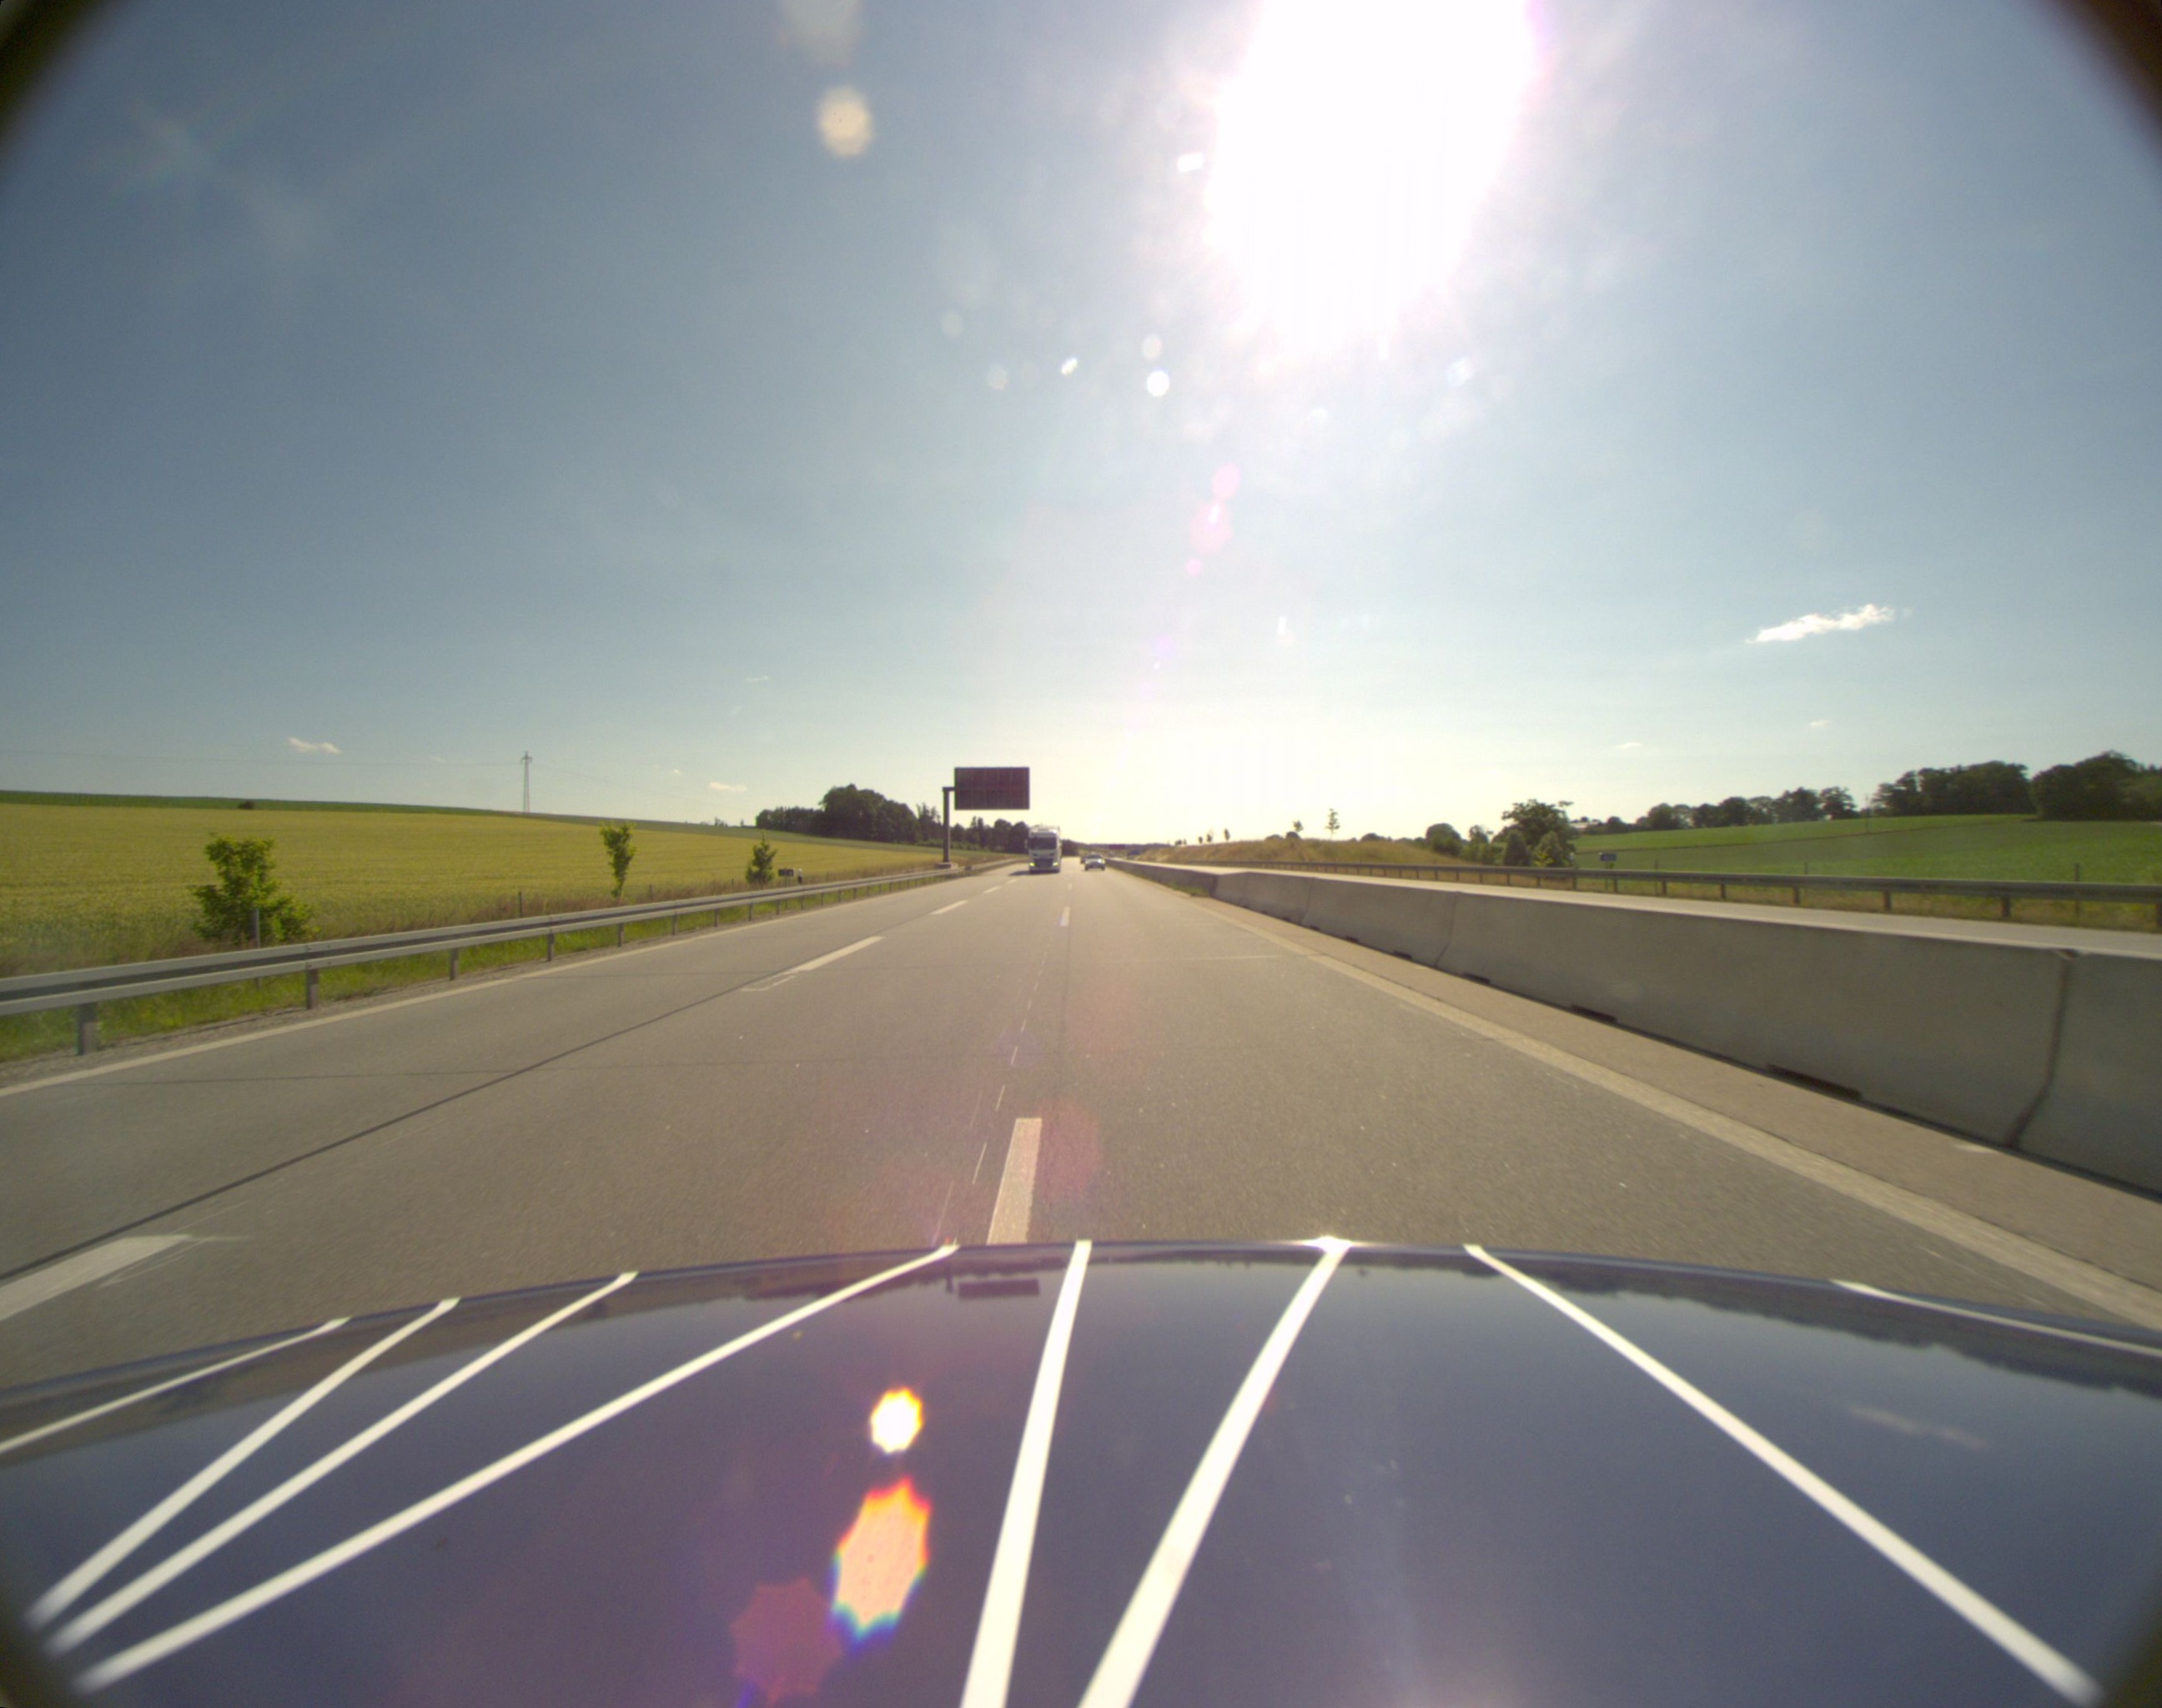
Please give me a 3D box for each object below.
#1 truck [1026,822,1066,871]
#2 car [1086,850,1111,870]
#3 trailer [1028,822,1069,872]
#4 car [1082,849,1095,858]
[{"bbox_3d":[-2.902,-0.667,65.426,3.090,3.991,6.188,1,1,0],"label":"truck"},{"bbox_3d":[1.542,0.509,66.911,1.891,1.565,3.793,-3,0,5],"label":"car"},{"bbox_3d":[-2.926,-0.674,74.133,3.184,4.269,15.457,2,0,0],"label":"trailer"},{"bbox_3d":[1.266,-0.084,123.188,1.899,1.560,4.000,0,0,2],"label":"car"}]
